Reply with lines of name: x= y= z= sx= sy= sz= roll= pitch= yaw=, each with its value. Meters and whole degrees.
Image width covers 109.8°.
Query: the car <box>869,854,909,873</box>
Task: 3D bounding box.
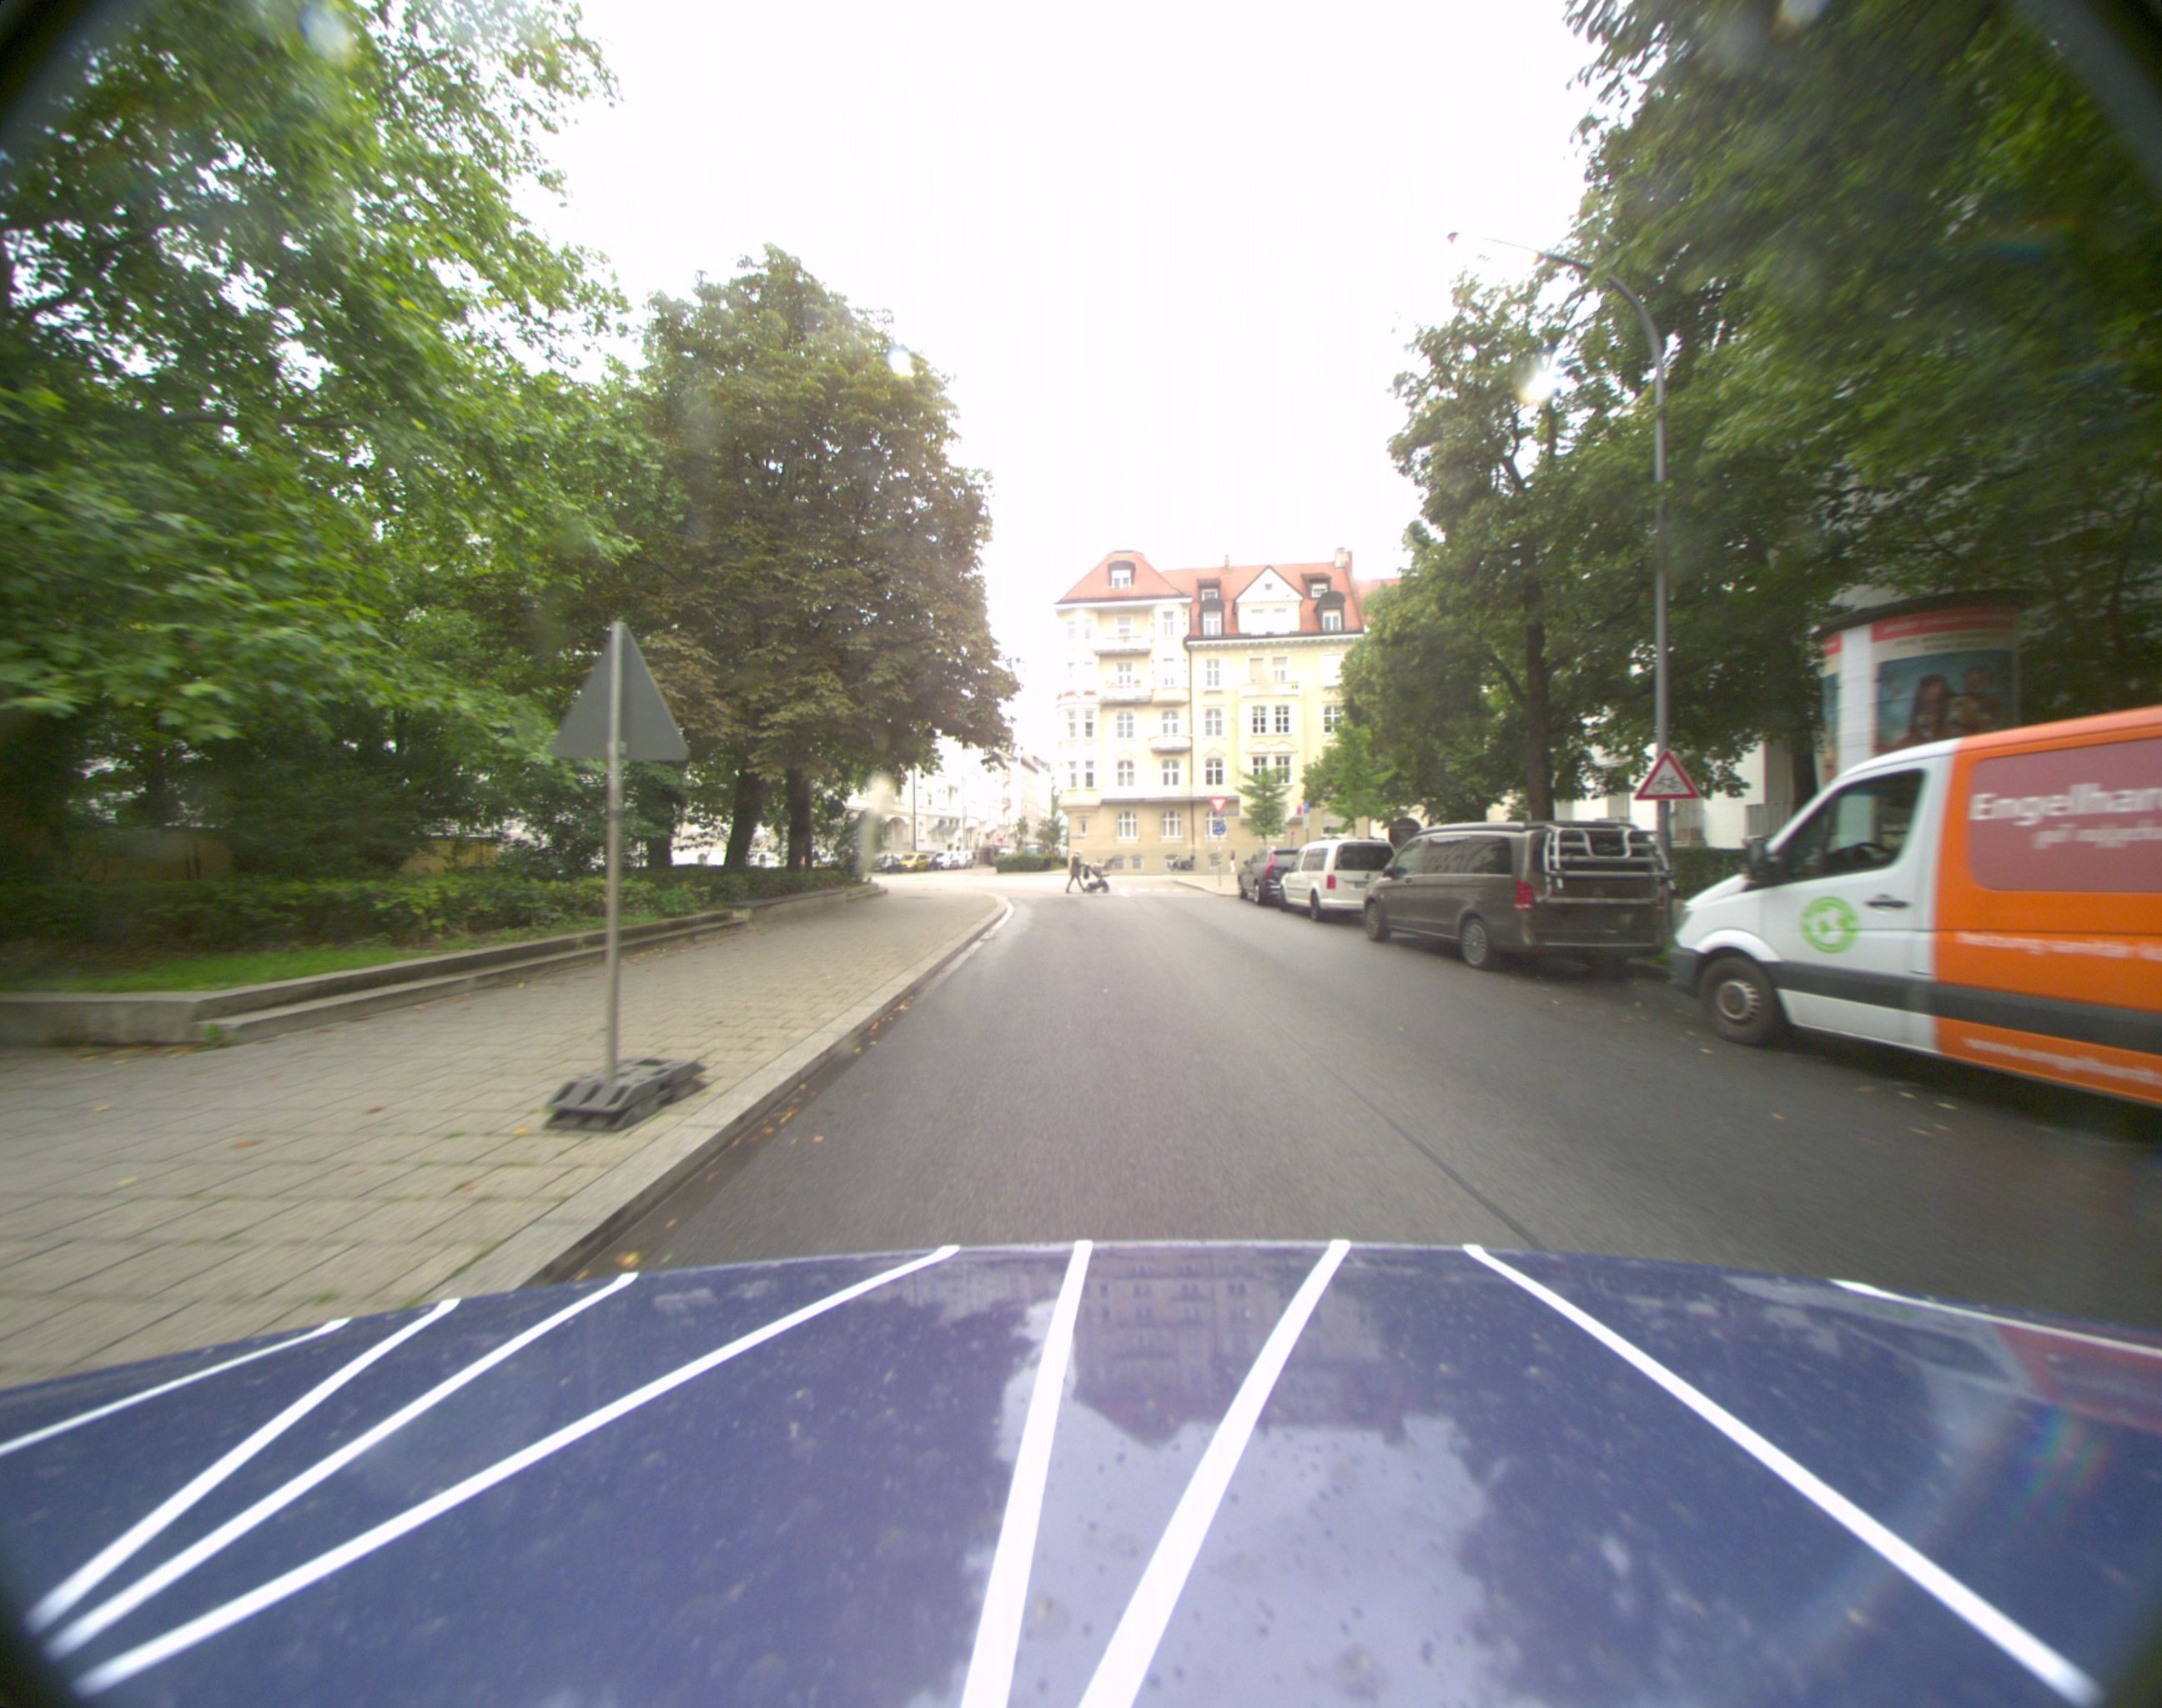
car: x=-16.462 y=0.791 z=65.428 sx=1.948 sy=1.412 sz=3.821 roll=0 pitch=2 yaw=9

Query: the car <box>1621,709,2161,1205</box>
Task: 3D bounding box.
car: x=6.129 y=0.476 z=4.359 sx=2.120 sy=2.335 sz=5.407 roll=-1 pitch=0 yaw=-1

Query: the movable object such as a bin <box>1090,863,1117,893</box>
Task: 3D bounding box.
movable object such as a bin: x=0.863 y=0.893 z=28.846 sx=0.900 sy=1.078 sz=0.777 roll=-1 pitch=2 yaw=-8

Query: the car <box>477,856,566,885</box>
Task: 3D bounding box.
car: x=-31.730 y=0.915 z=43.150 sx=3.994 sy=1.574 sz=1.739 roll=0 pitch=2 yaw=9

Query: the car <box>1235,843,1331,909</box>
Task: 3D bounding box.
car: x=6.100 y=0.569 z=23.538 sx=1.884 sy=1.758 sz=5.059 roll=0 pitch=1 yaw=3

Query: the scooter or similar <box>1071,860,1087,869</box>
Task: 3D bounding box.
scooter or similar: x=-0.143 y=0.798 z=59.022 sx=1.235 sy=0.683 sz=0.316 roll=-1 pitch=2 yaw=-21

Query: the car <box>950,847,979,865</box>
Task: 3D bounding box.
car: x=-13.477 y=0.180 z=87.975 sx=2.052 sy=1.928 sz=4.577 roll=0 pitch=2 yaw=8

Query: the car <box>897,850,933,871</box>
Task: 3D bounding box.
car: x=-15.433 y=0.542 z=70.730 sx=1.793 sy=1.809 sz=4.306 roll=0 pitch=2 yaw=9

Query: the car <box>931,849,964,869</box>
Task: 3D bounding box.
car: x=-14.321 y=0.506 z=81.626 sx=2.156 sy=1.902 sz=4.774 roll=0 pitch=2 yaw=8

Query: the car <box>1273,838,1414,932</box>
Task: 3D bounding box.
car: x=6.051 y=0.628 z=18.166 sx=1.884 sy=1.926 sz=4.833 roll=0 pitch=0 yaw=3

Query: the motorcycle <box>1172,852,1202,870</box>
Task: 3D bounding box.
motorcycle: x=8.072 y=0.519 z=58.032 sx=2.243 sy=1.319 sz=0.824 roll=0 pitch=2 yaw=5

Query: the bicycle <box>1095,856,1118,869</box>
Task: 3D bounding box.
bicycle: x=1.961 y=0.682 z=59.054 sx=1.783 sy=0.986 sz=0.543 roll=0 pitch=2 yaw=3

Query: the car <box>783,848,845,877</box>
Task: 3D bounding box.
car: x=-18.546 y=0.538 z=53.011 sx=1.948 sy=1.923 sz=4.977 roll=0 pitch=1 yaw=9

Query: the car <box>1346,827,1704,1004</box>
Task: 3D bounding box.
car: x=5.896 y=0.681 z=11.179 sx=1.950 sy=1.952 sz=5.458 roll=0 pitch=0 yaw=-1

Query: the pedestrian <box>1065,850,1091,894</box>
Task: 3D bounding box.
pedestrian: x=-0.119 y=0.655 z=28.534 sx=0.863 sy=1.610 sz=0.593 roll=-1 pitch=2 yaw=-8

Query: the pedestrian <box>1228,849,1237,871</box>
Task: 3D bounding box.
pedestrian: x=11.474 y=0.424 z=57.510 sx=0.606 sy=1.655 sz=0.463 roll=0 pitch=2 yaw=12
